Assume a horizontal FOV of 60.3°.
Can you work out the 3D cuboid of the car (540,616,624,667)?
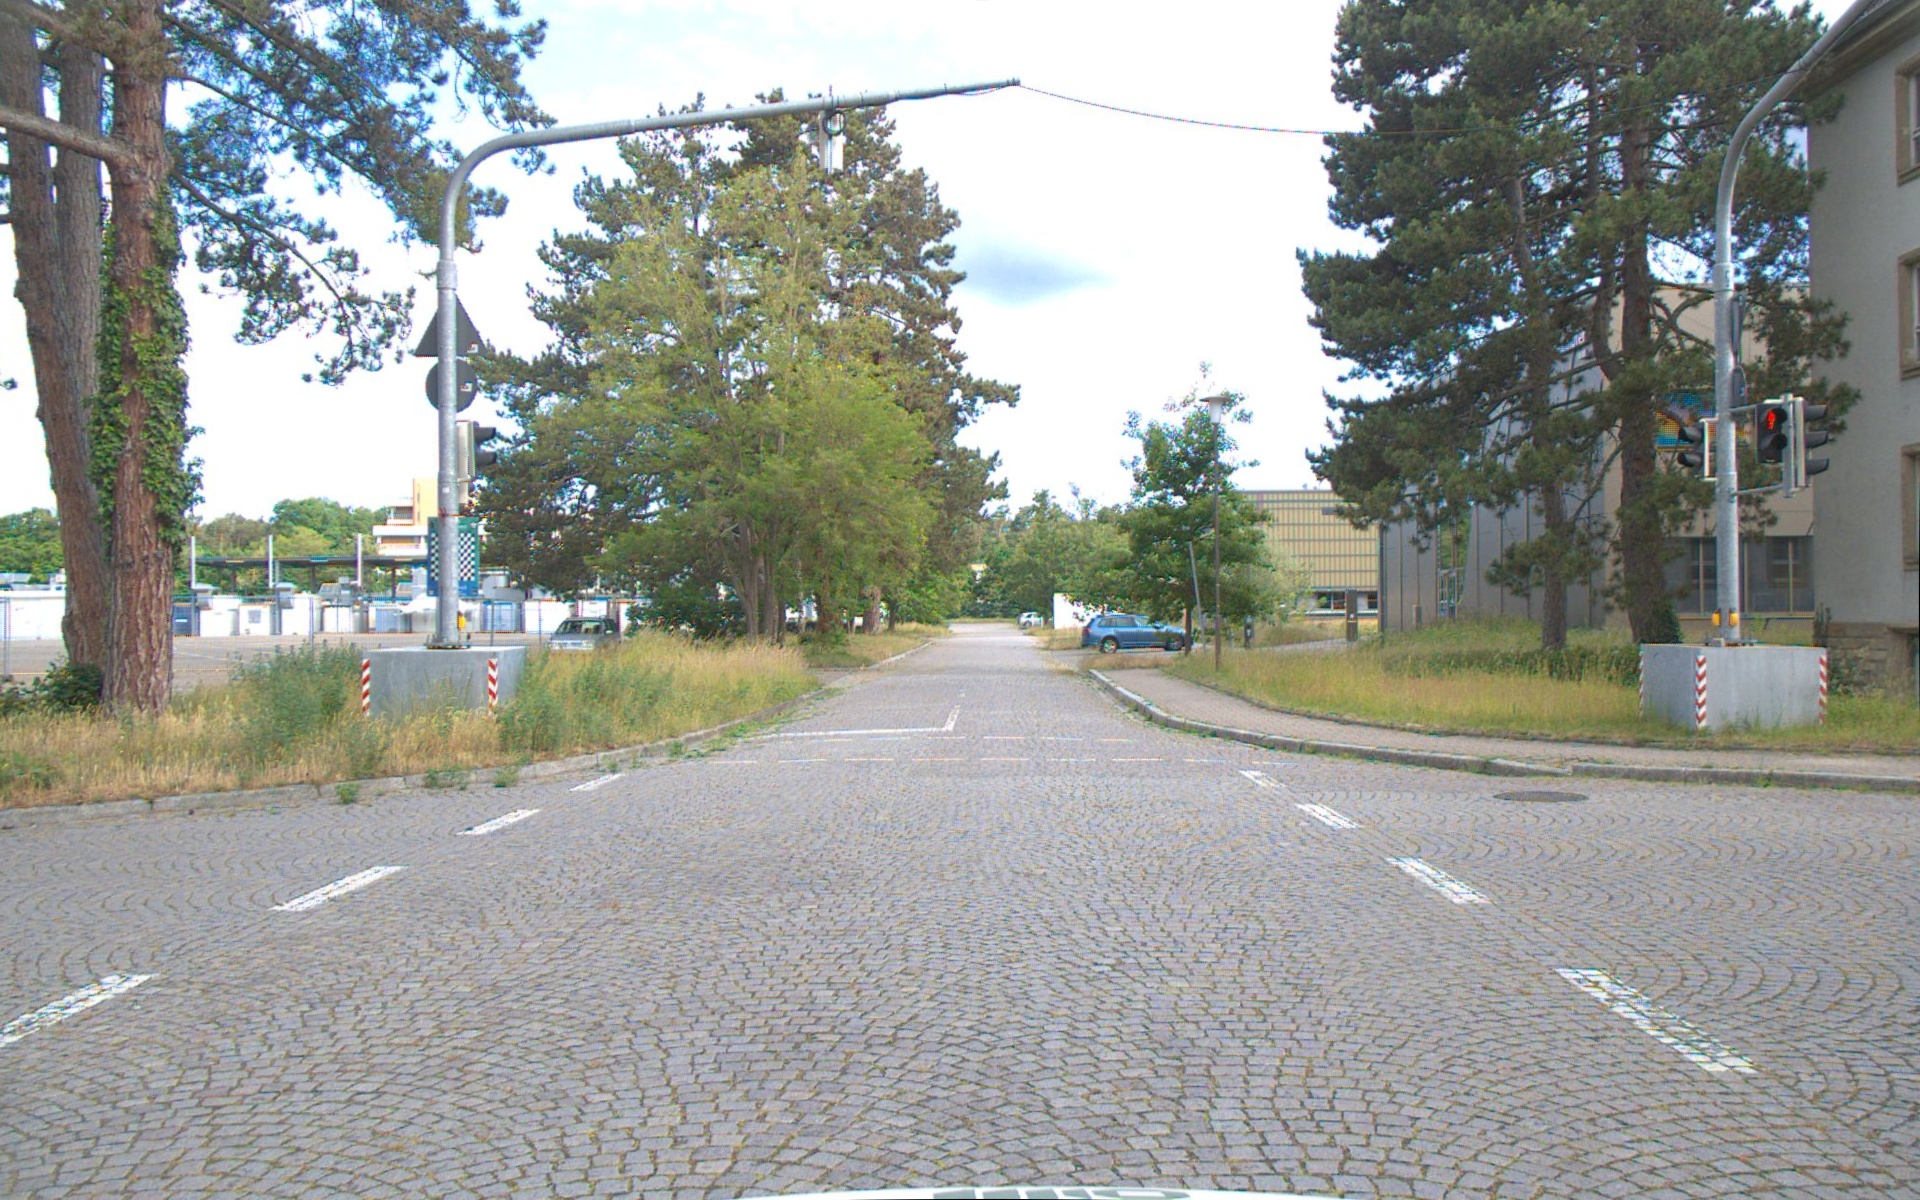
[{"bbox_3d":[-11.563,1.243,50.823,1.579,1.513,4.000,0,-1,1],"label":"car"}]

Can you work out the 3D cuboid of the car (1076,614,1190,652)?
[{"bbox_3d":[6.801,1.292,65.435,4.256,1.447,1.999,-1,-1,-1],"label":"car"}]

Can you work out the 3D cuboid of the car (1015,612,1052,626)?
[{"bbox_3d":[8.088,2.103,182.517,3.909,1.422,1.998,-1,-1,-5],"label":"car"}]
